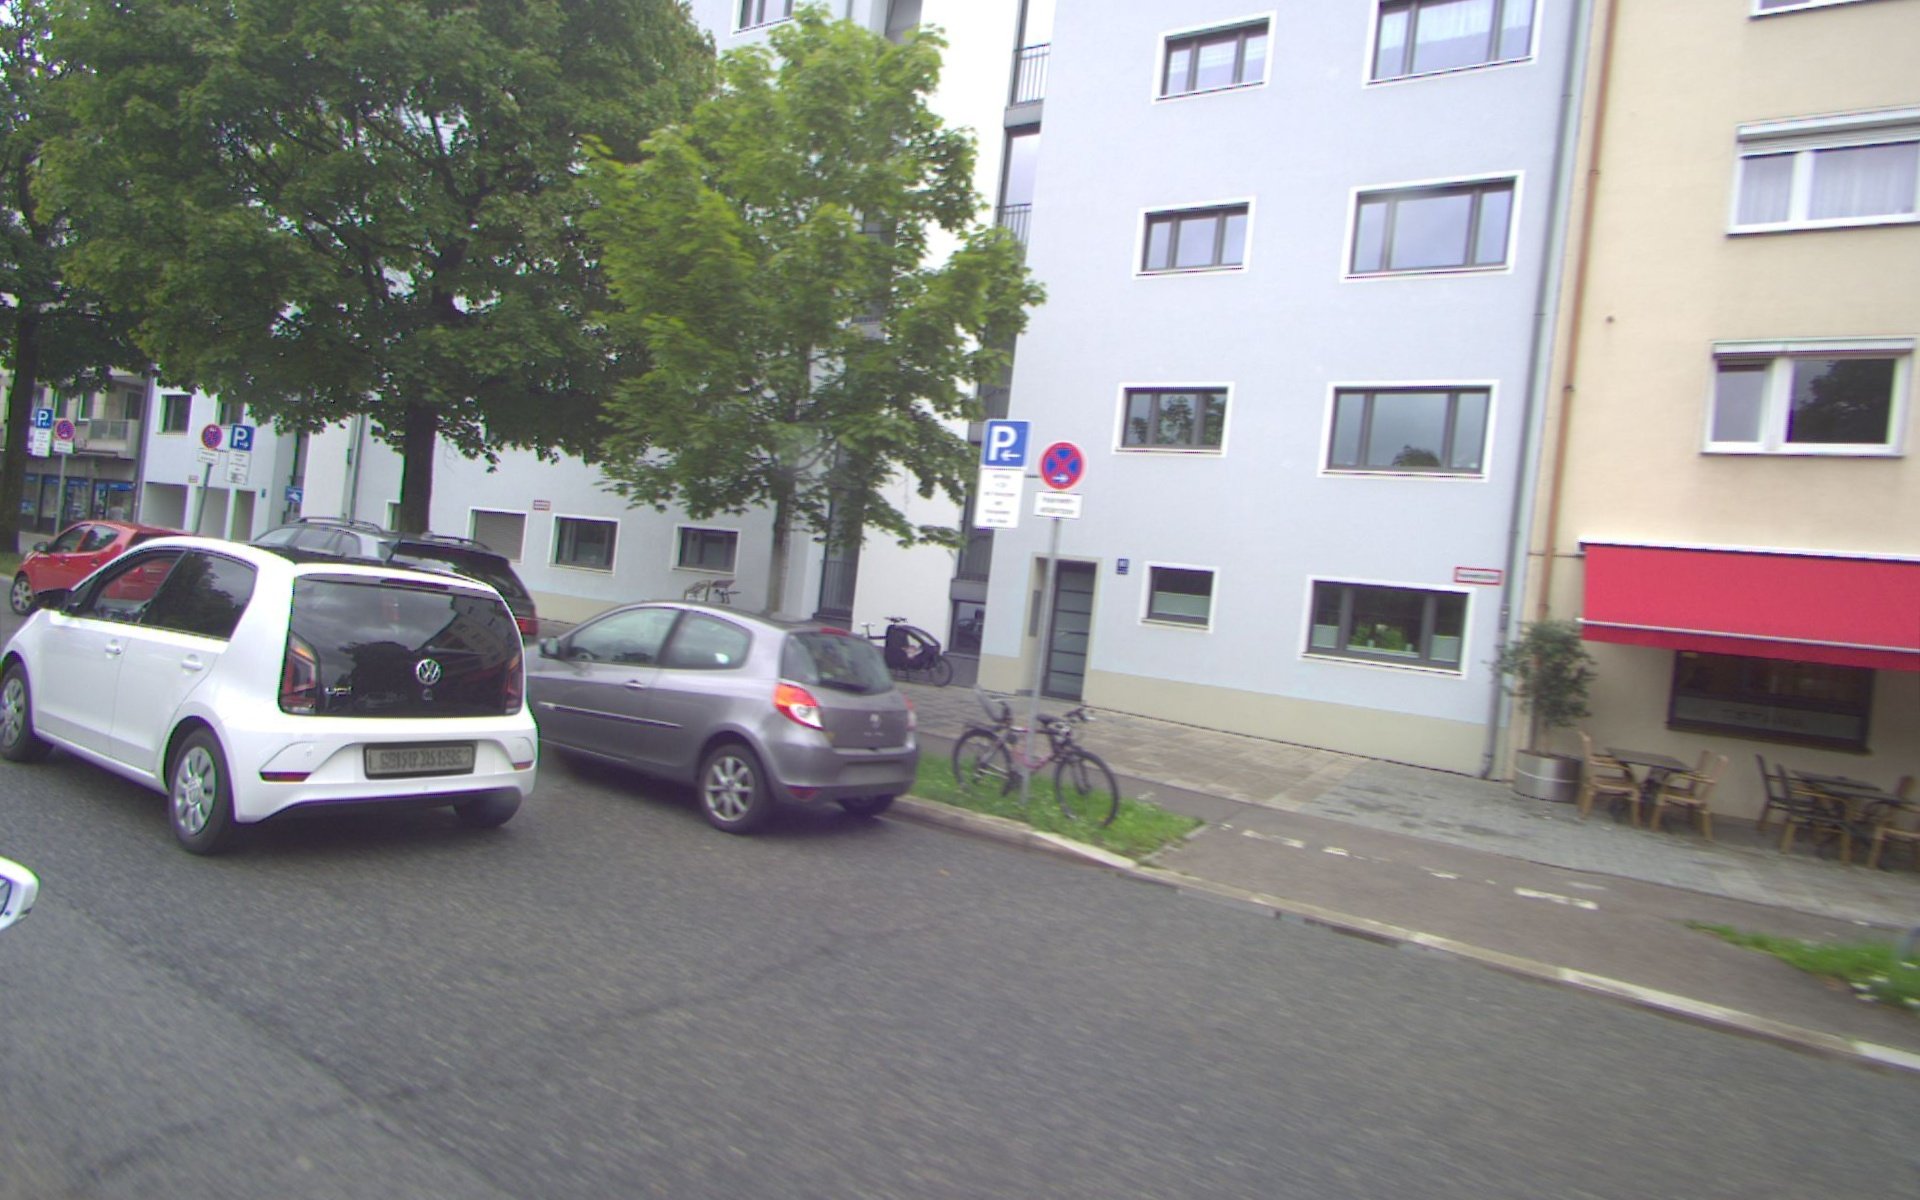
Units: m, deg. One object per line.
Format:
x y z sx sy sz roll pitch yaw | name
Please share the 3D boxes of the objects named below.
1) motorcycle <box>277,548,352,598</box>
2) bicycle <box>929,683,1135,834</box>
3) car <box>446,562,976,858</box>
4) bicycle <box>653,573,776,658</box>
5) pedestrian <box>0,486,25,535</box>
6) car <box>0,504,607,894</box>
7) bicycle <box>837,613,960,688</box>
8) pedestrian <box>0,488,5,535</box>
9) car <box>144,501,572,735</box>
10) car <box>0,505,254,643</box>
-17.412 -0.730 27.110 2.163 1.099 0.762 7 0 32 | motorcycle
0.581 1.300 8.515 1.647 0.958 0.386 7 0 31 | bicycle
-2.007 0.722 7.957 3.707 1.540 1.833 7 -1 30 | car
-4.947 0.297 20.188 2.549 1.426 0.703 7 2 32 | bicycle
-34.617 -3.254 36.646 0.712 1.660 0.542 7 0 31 | pedestrian
-3.983 0.413 5.887 3.376 1.508 1.690 7 -1 30 | car
-1.114 0.866 17.874 2.159 1.061 0.621 7 4 32 | bicycle
-34.623 -3.203 35.898 0.630 1.650 0.549 7 2 31 | pedestrian
-6.283 0.113 10.356 4.434 1.767 1.832 7 -1 32 | car
-11.849 -0.391 14.079 3.931 1.458 1.524 7 -1 28 | car
